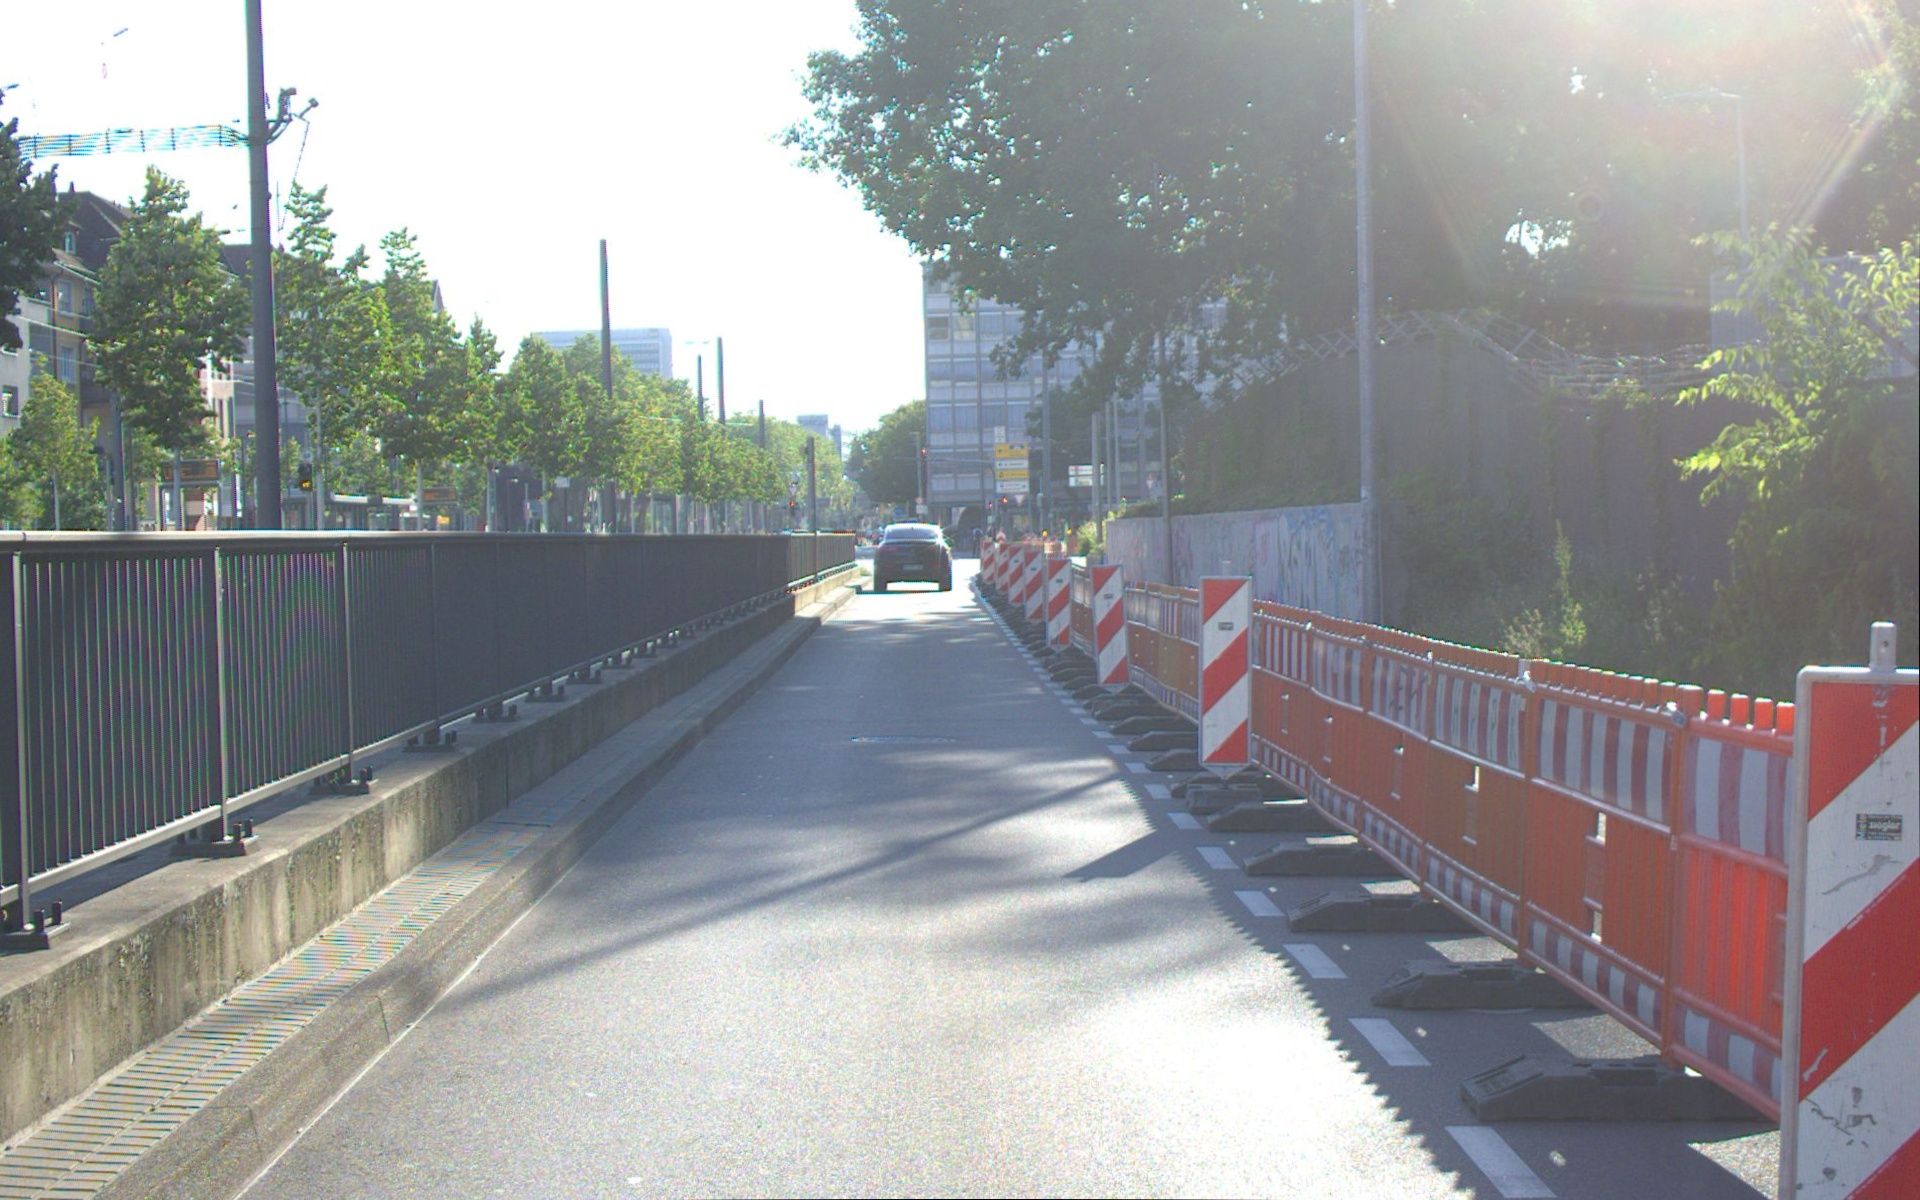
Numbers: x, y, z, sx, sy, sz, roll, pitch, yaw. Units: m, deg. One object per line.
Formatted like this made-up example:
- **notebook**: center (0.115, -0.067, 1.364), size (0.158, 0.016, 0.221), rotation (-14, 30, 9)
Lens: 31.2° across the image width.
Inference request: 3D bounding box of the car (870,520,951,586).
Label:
- **car**: center (-1.261, -1.218, 89.249), size (2.005, 1.653, 4.000), rotation (1, 1, 0)
